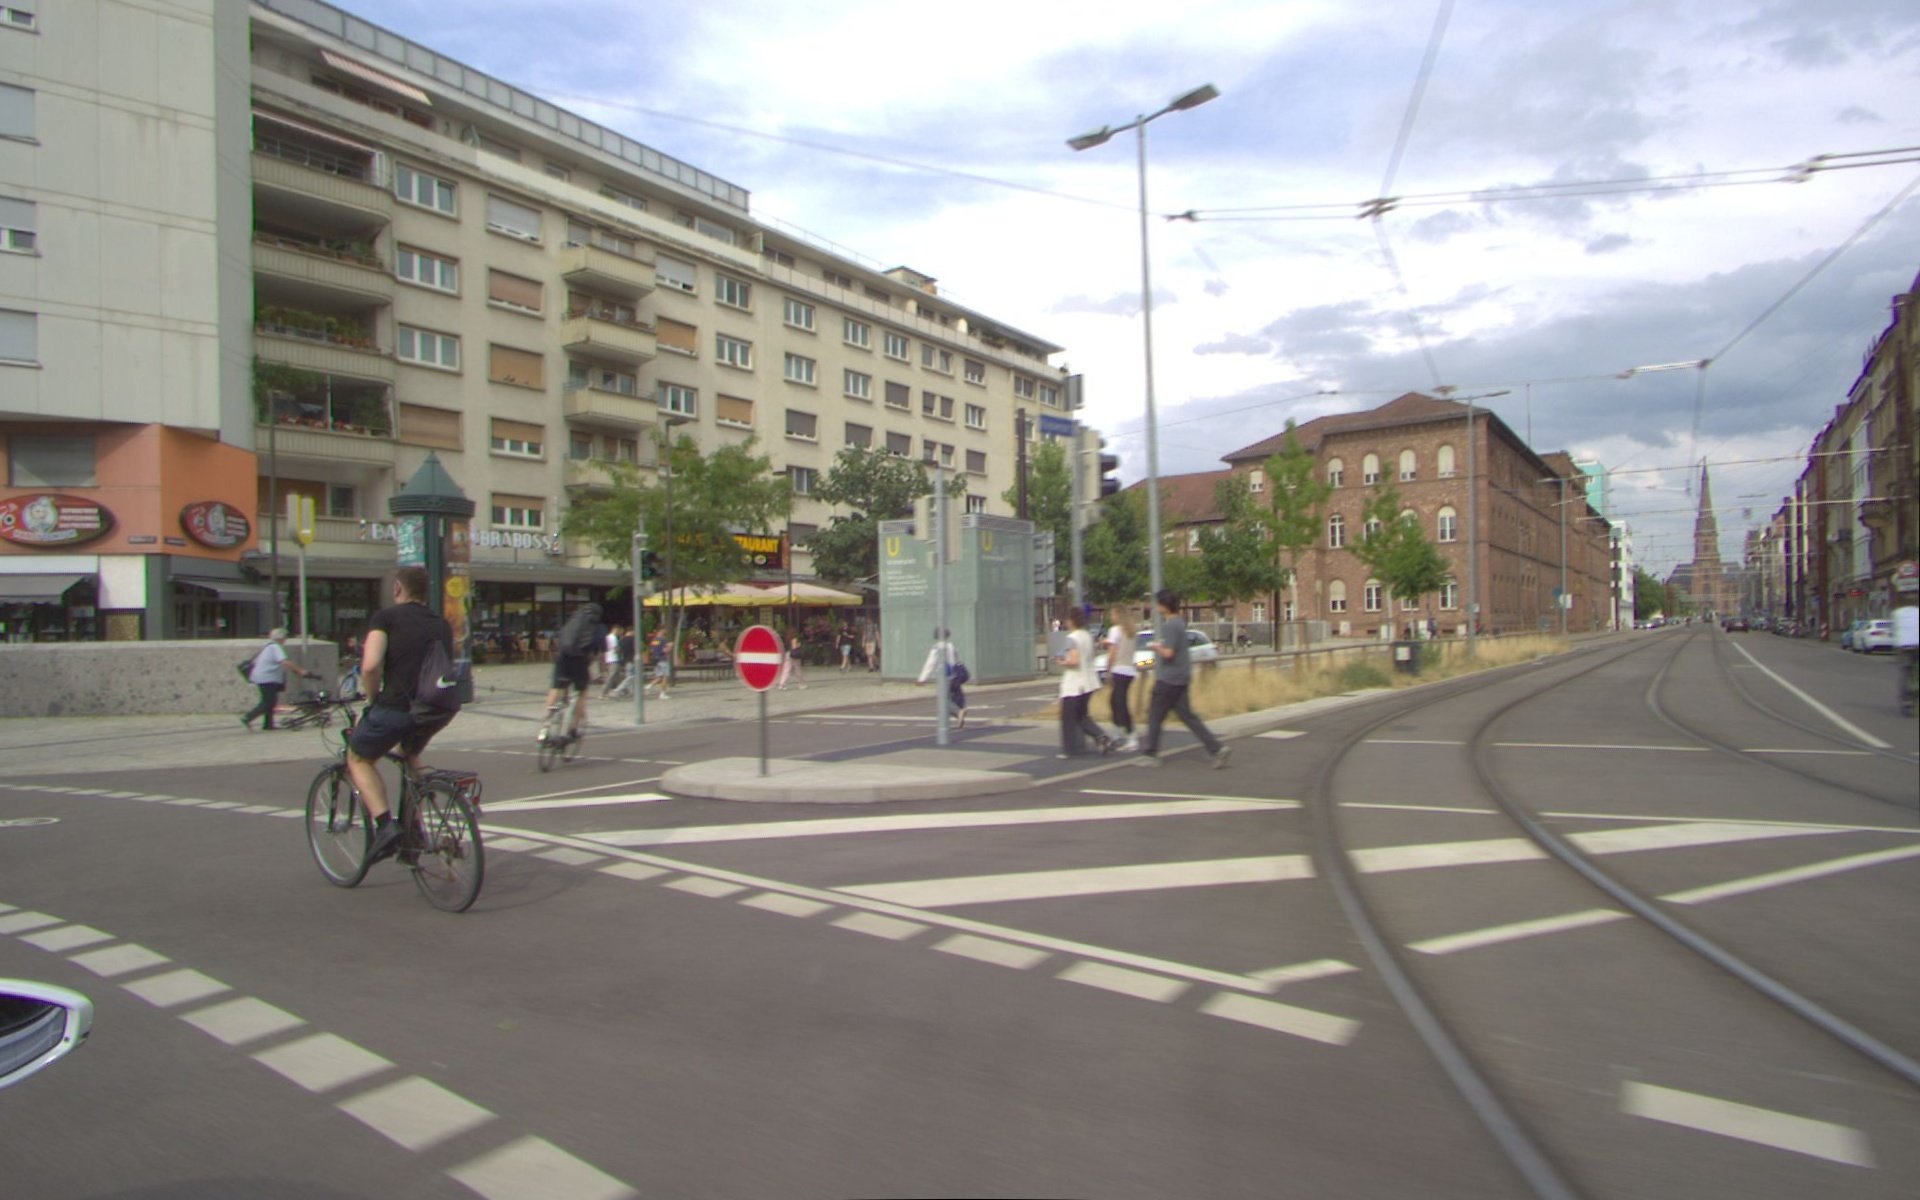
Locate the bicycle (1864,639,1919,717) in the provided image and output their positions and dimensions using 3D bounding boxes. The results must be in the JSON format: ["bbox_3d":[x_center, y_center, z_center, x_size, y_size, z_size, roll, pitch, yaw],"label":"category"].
[{"bbox_3d":[14.294,1.130,14.842,1.886,1.101,0.391,0,-1,-17],"label":"bicycle"}]

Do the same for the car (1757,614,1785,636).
[{"bbox_3d":[78.709,2.431,97.208,1.975,1.927,3.975,-2,-4,37],"label":"car"}]

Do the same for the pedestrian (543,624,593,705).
[{"bbox_3d":[-8.445,1.377,21.562,0.619,1.702,0.800,-1,-1,39],"label":"pedestrian"}]

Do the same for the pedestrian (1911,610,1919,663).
[{"bbox_3d":[31.864,1.190,32.909,0.723,1.705,0.603,0,-4,-29],"label":"pedestrian"}]

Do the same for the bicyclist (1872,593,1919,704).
[{"bbox_3d":[14.360,0.716,15.024,0.847,1.624,0.641,0,-1,-17],"label":"bicyclist"}]

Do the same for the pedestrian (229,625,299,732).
[{"bbox_3d":[-11.880,1.307,17.099,0.927,1.763,0.680,0,0,-39],"label":"pedestrian"}]

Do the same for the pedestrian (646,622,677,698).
[{"bbox_3d":[-7.056,1.403,23.677,0.409,1.759,0.591,-1,-1,37],"label":"pedestrian"}]

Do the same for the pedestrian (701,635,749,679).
[{"bbox_3d":[-6.964,1.699,29.637,0.924,1.260,1.027,-2,-4,40],"label":"pedestrian"}]

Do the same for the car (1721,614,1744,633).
[{"bbox_3d":[84.933,2.585,110.136,1.935,1.927,3.975,-2,-4,37],"label":"car"}]

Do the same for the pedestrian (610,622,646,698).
[{"bbox_3d":[-7.743,1.385,23.355,0.409,1.759,0.697,-1,-1,37],"label":"pedestrian"}]

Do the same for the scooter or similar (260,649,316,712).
[{"bbox_3d":[-13.421,1.602,19.996,1.105,1.228,0.286,-1,-1,15],"label":"scooter or similar"}]

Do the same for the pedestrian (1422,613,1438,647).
[{"bbox_3d":[28.533,1.793,60.785,0.750,2.039,0.903,-1,-1,34],"label":"pedestrian"}]

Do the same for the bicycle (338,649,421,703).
[{"bbox_3d":[-12.919,1.671,22.363,0.534,1.027,2.448,-1,0,-3],"label":"bicycle"}]

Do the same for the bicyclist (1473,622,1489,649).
[{"bbox_3d":[35.860,2.412,68.936,0.850,1.845,0.500,-1,-1,38],"label":"bicyclist"}]

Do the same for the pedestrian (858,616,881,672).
[{"bbox_3d":[-3.060,1.488,33.965,0.576,1.891,0.488,1,0,33],"label":"pedestrian"}]

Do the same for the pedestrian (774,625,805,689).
[{"bbox_3d":[-4.528,1.503,26.613,0.434,1.662,0.674,-1,-1,37],"label":"pedestrian"}]

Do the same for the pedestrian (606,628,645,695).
[{"bbox_3d":[-8.175,1.483,24.477,0.410,1.596,0.815,-1,-1,39],"label":"pedestrian"}]

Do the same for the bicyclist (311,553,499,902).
[{"bbox_3d":[-3.013,0.648,5.439,0.850,1.731,0.557,-1,-1,32],"label":"bicyclist"}]

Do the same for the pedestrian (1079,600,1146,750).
[{"bbox_3d":[1.808,0.868,11.853,0.693,1.717,0.634,0,-1,17],"label":"pedestrian"}]

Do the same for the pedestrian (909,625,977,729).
[{"bbox_3d":[-0.252,1.157,15.041,0.833,1.520,0.551,-3,-2,22],"label":"pedestrian"}]

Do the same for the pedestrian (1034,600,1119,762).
[{"bbox_3d":[1.275,0.872,10.996,0.785,1.707,0.467,-1,-1,33],"label":"pedestrian"}]

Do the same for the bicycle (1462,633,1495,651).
[{"bbox_3d":[35.765,2.895,69.081,1.949,1.180,0.418,-1,-1,37],"label":"bicycle"}]

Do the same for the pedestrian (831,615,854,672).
[{"bbox_3d":[-3.968,1.469,33.821,0.576,1.891,0.545,1,0,33],"label":"pedestrian"}]

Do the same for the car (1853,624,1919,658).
[{"bbox_3d":[37.240,1.611,40.076,1.814,1.282,4.127,-2,-2,36],"label":"car"}]

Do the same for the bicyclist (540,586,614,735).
[{"bbox_3d":[-4.624,0.719,12.136,0.686,1.731,0.907,0,-1,-11],"label":"bicyclist"}]

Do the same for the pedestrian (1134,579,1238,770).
[{"bbox_3d":[2.339,0.743,10.360,0.866,1.878,0.636,-1,-1,38],"label":"pedestrian"}]

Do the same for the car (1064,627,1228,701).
[{"bbox_3d":[4.540,1.446,23.918,1.976,1.531,4.571,-1,-2,38],"label":"car"}]

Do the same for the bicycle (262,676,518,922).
[{"bbox_3d":[-3.264,1.034,5.648,1.989,1.136,0.405,-1,-1,34],"label":"bicycle"}]

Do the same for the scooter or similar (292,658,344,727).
[{"bbox_3d":[-11.295,1.612,17.613,0.694,1.125,0.603,-1,0,-40],"label":"scooter or similar"}]

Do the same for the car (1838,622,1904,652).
[{"bbox_3d":[41.916,1.680,46.162,1.814,1.282,4.127,-2,-2,36],"label":"car"}]

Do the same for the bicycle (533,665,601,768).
[{"bbox_3d":[-4.769,1.374,12.238,0.384,1.135,1.920,-1,-3,-10],"label":"bicycle"}]
